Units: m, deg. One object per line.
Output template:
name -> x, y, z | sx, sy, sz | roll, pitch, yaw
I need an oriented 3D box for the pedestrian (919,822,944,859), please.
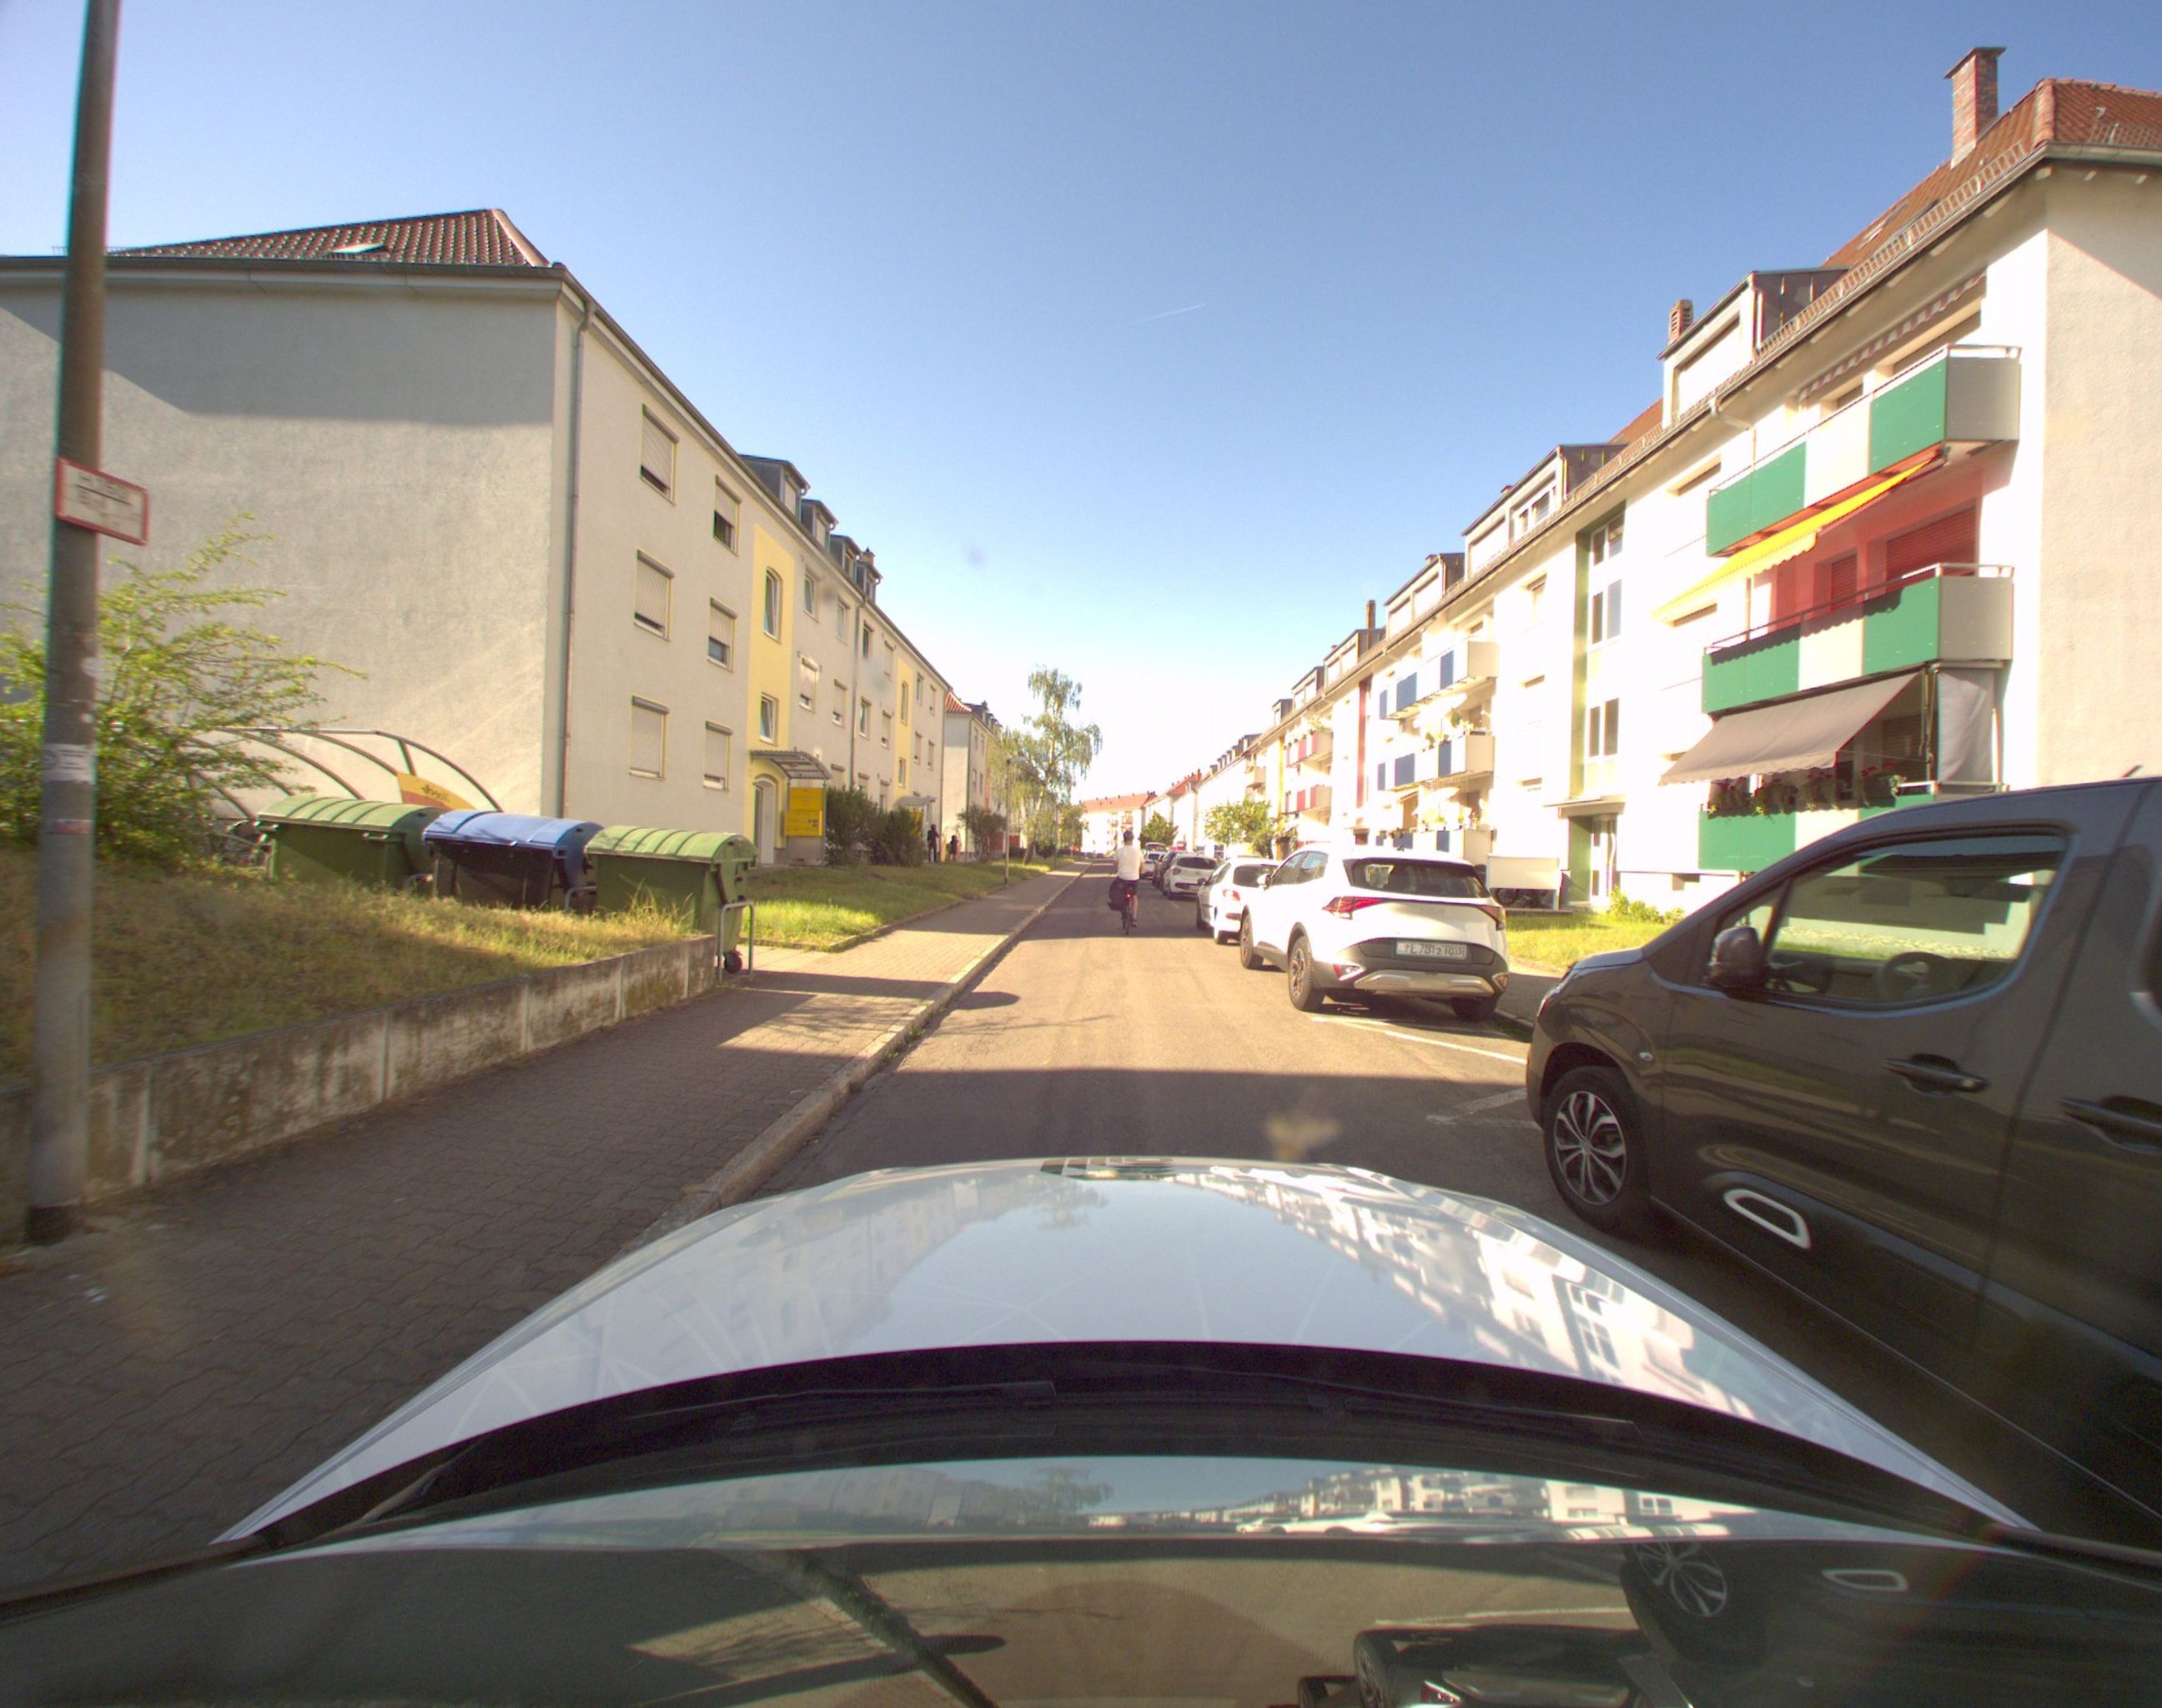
pedestrian -> -7.130, -0.623, 38.935 | 0.967, 1.715, 0.947 | 2, 0, 1

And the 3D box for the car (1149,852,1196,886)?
car -> 4.126, 0.661, 37.324 | 1.828, 1.435, 3.753 | 2, 0, 2

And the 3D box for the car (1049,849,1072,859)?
car -> -3.728, -0.006, 149.140 | 3.974, 1.801, 2.000 | 1, 0, 0

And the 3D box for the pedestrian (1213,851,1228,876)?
pedestrian -> 9.489, 0.643, 55.492 | 0.705, 1.677, 0.798 | 1, 0, 31

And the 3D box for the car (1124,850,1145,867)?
car -> 4.928, 0.419, 75.577 | 1.799, 1.498, 4.201 | 2, 0, 2

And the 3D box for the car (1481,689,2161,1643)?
car -> 2.922, 0.586, 2.008 | 1.856, 1.730, 4.297 | 2, 0, 2

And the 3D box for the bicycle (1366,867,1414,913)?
bicycle -> 7.934, 0.909, 20.981 | 0.557, 1.093, 1.902 | 2, 0, 2

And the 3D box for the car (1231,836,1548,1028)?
car -> 3.019, 0.667, 9.026 | 1.976, 1.592, 4.125 | 2, 0, 1

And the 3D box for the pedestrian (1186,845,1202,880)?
pedestrian -> 6.583, 0.508, 47.551 | 0.788, 2.013, 1.083 | 1, 0, 2

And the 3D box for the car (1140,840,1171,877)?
car -> 4.586, 0.272, 50.542 | 1.613, 2.143, 4.002 | 2, 0, 2

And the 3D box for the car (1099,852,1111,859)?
car -> 5.840, 0.319, 197.393 | 1.994, 1.575, 3.986 | 1, 0, -10

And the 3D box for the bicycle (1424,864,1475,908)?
bicycle -> 9.621, 0.812, 21.310 | 0.512, 1.054, 1.866 | 2, 0, 2

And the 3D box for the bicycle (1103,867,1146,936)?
bicycle -> 0.772, 0.822, 14.816 | 0.658, 1.127, 1.766 | 2, 0, 0

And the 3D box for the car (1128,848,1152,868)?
car -> 5.097, 0.350, 70.635 | 1.799, 1.604, 4.406 | 2, 0, 2

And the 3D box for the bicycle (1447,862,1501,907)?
bicycle -> 10.267, 0.777, 21.325 | 0.557, 1.104, 1.830 | 2, 0, 2

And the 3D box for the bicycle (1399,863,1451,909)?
bicycle -> 8.862, 0.798, 21.051 | 0.557, 1.093, 1.902 | 2, 0, 2

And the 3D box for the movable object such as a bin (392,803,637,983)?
movable object such as a bin -> -5.571, 0.356, 8.139 | 1.493, 1.622, 1.264 | 2, 0, 1

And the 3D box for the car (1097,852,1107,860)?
car -> 4.293, 0.414, 164.997 | 1.752, 1.575, 3.900 | 1, 0, -2

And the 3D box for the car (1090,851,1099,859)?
car -> 2.974, 0.252, 179.165 | 1.988, 1.575, 3.998 | 1, 0, -1

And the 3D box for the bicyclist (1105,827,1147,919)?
bicyclist -> 0.800, 0.338, 14.775 | 0.691, 1.596, 0.791 | 1, 0, 0

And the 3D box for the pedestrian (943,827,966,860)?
pedestrian -> -6.075, -0.511, 39.056 | 0.860, 1.521, 1.068 | 2, 0, 1

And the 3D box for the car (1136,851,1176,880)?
car -> 4.072, 0.610, 44.713 | 1.887, 1.496, 4.093 | 2, 0, 2

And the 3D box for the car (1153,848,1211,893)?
car -> 3.843, 0.603, 31.609 | 1.828, 1.558, 4.002 | 2, 0, 2

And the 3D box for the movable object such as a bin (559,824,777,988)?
movable object such as a bin -> -4.079, 0.481, 8.207 | 1.486, 1.478, 1.265 | 2, 0, 1

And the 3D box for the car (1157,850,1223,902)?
car -> 3.505, 0.662, 26.670 | 1.626, 1.491, 3.623 | 3, 0, 1

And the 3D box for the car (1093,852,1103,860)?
car -> 3.498, 0.335, 170.476 | 1.988, 1.575, 3.998 | 1, 0, -1

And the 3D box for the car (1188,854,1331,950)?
car -> 3.026, 0.749, 14.547 | 1.751, 1.432, 3.629 | 2, 0, 0

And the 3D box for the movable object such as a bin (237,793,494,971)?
movable object such as a bin -> -7.045, 0.257, 8.127 | 1.454, 1.613, 1.191 | 2, 0, 1
